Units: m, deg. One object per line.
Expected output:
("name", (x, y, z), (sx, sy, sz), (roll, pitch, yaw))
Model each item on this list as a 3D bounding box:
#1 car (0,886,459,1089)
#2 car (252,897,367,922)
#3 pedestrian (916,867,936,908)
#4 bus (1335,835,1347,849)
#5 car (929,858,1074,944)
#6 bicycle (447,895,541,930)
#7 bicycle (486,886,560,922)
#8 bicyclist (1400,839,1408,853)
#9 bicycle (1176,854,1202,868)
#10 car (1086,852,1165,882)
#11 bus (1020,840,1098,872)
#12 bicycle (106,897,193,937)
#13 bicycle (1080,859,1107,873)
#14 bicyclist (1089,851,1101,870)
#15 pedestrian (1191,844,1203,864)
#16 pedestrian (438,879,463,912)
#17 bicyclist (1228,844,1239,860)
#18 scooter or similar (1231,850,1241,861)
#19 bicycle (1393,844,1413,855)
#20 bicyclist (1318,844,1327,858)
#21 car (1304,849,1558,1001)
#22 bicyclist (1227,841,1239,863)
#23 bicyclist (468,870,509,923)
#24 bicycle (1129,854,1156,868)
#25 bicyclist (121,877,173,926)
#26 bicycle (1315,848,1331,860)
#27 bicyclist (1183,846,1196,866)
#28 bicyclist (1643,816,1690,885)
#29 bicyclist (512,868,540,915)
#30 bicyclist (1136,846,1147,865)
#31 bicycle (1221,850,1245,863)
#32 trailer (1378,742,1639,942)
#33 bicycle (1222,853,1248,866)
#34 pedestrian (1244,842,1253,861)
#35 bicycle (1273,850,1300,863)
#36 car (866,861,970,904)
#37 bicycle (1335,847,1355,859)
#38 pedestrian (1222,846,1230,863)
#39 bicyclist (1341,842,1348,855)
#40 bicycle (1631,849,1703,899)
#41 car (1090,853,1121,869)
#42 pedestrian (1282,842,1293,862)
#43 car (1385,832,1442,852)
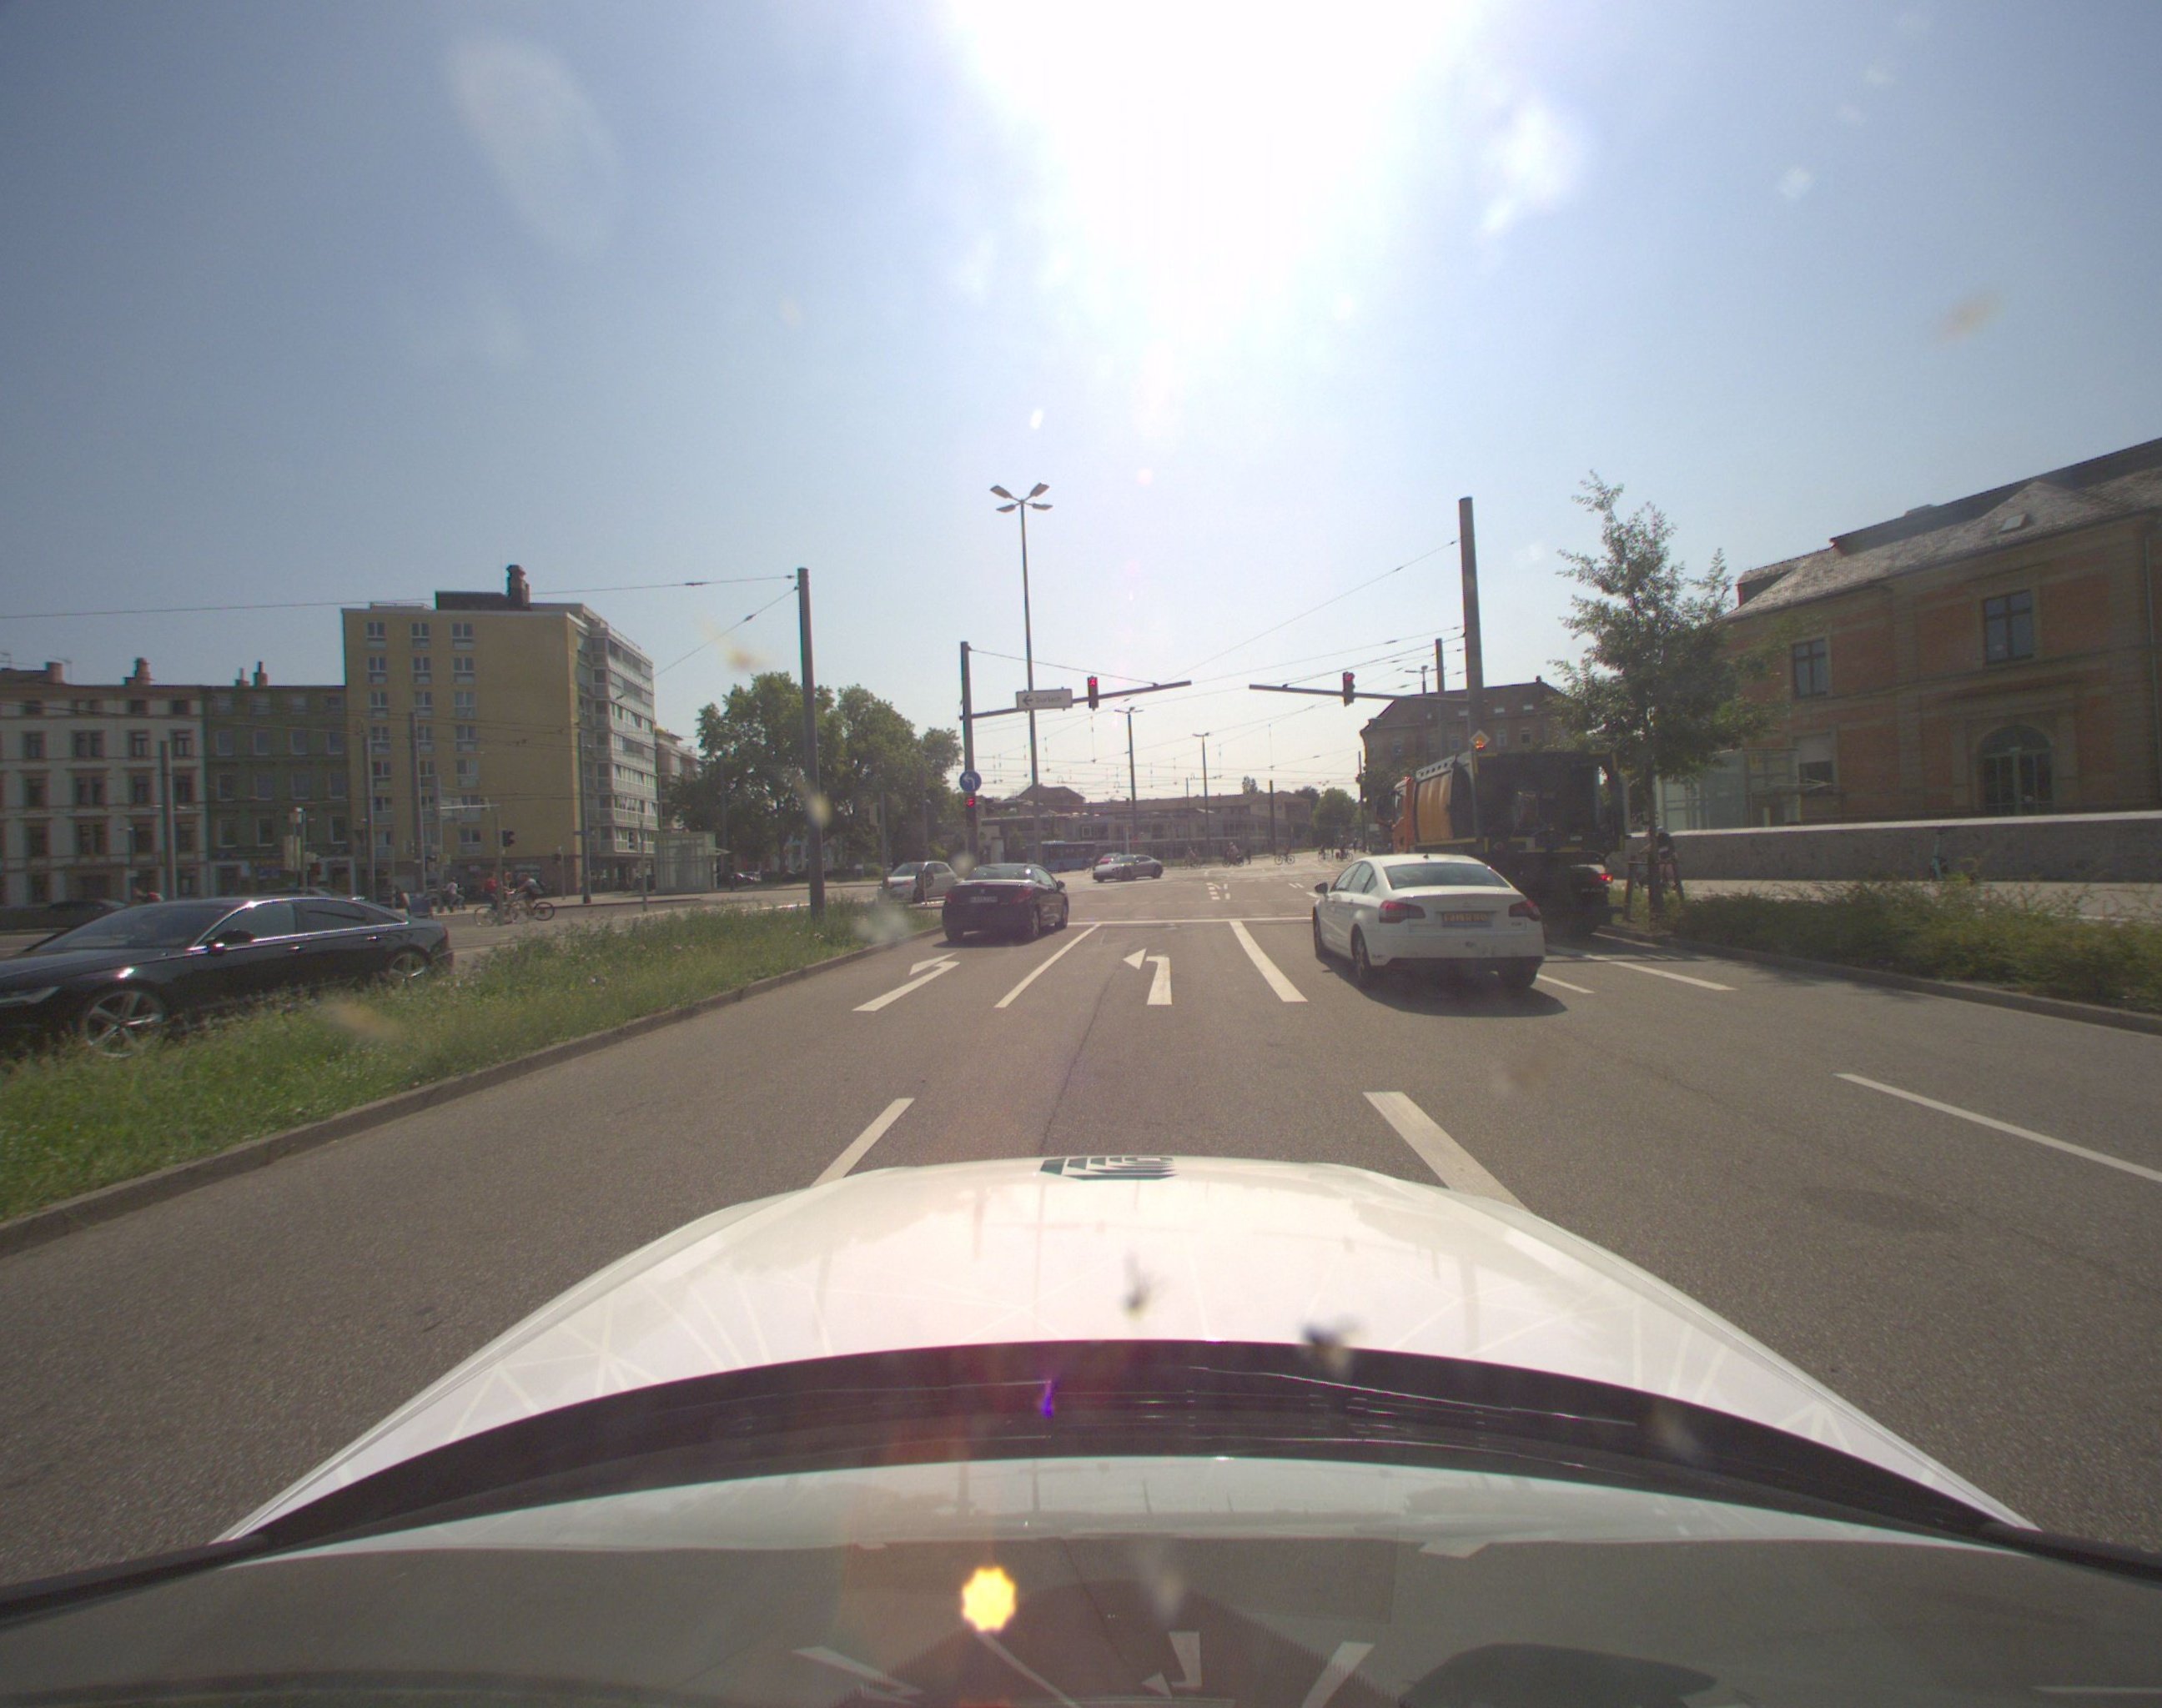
("car", (-9.314, 1.157, 8.599), (1.764, 1.411, 4.767), (-1, 0, 1))
("car", (-39.738, 2.843, 42.037), (3.891, 0.987, 1.707), (-3, 0, -16))
("pedestrian", (-5.028, 1.080, 26.388), (0.596, 1.268, 0.503), (-3, 2, -12))
("bus", (66.313, -3.054, 207.765), (2.541, 3.505, 7.838), (-3, 0, 18))
("car", (-1.405, 0.830, 16.083), (1.747, 1.404, 3.992), (-2, 0, 11))
("bicycle", (-19.129, 1.889, 26.595), (2.410, 0.953, 0.601), (-3, -1, -12))
("bicycle", (-19.943, 1.777, 29.132), (0.690, 1.137, 2.056), (-3, 0, 43))
("bicyclist", (29.812, -0.759, 75.238), (0.588, 1.247, 0.510), (-3, 0, 26))
("bicycle", (8.606, 0.537, 64.881), (1.984, 1.018, 0.710), (-2, 0, -19))
("car", (2.510, 0.695, 44.945), (1.921, 1.400, 4.616), (-3, 0, 39))
("bus", (-1.946, 0.083, 81.834), (3.026, 2.931, 11.918), (-3, 0, 23))
("bicycle", (-32.749, 2.184, 28.686), (0.977, 1.178, 2.807), (-2, 0, -26))
("bicycle", (1.072, 1.025, 70.795), (2.199, 1.087, 0.759), (-2, 0, -13))
("bicyclist", (1.207, 0.562, 70.826), (0.798, 1.541, 0.759), (-2, 0, -12))
("pedestrian", (10.591, 0.001, 74.334), (0.776, 1.752, 0.813), (-3, 0, 21))
("pedestrian", (-32.409, 2.099, 41.842), (0.649, 1.633, 0.811), (-3, -1, -11))
("bicyclist", (13.489, -0.202, 72.195), (0.670, 1.350, 0.707), (-2, 0, -19))
("scooter or similar", (14.285, 0.173, 75.022), (0.831, 0.974, 0.794), (-2, 0, 5))
("bicycle", (29.761, -0.432, 75.266), (1.576, 0.985, 0.510), (-3, 0, 26))
("bicyclist", (22.266, -0.279, 75.014), (0.598, 1.247, 0.501), (-2, 0, -37))
("car", (4.031, 0.697, 10.220), (1.748, 1.455, 4.435), (-2, 0, 7))
("bicyclist", (12.263, -0.178, 65.712), (0.703, 1.764, 0.713), (-2, 0, -5))
("bicyclist", (-19.321, 1.371, 26.565), (0.839, 1.642, 0.604), (-3, 0, -11))
("bicycle", (5.400, 0.637, 71.590), (2.196, 1.087, 0.760), (-2, 0, -9))
("bicyclist", (-32.686, 1.643, 28.516), (0.977, 1.654, 0.656), (-2, 0, -27))
("bicycle", (22.276, 0.016, 75.011), (1.603, 0.985, 0.501), (-2, 0, -37))
("bicyclist", (8.649, 0.150, 64.897), (0.666, 1.509, 0.710), (-2, 0, -19))
("bicyclist", (13.180, -0.081, 18.351), (0.545, 1.496, 0.806), (-3, -1, 13))
("bicyclist", (-19.909, 1.330, 29.201), (0.684, 1.650, 0.623), (-3, 0, 43))
("bicyclist", (5.344, 0.175, 71.582), (0.761, 1.634, 0.760), (-2, 0, -9))
("bicycle", (13.501, 0.226, 72.191), (1.984, 1.018, 0.710), (-2, 0, -19))
("trailer", (7.636, -0.178, 15.545), (2.448, 3.007, 6.341), (-1, 0, 9))
("bicycle", (12.419, 0.446, 65.725), (1.974, 1.018, 0.713), (-2, 0, -5))
("pedestrian", (15.412, -0.212, 74.837), (0.619, 1.752, 0.629), (-2, 0, 3))
("bicycle", (16.938, 0.190, 67.194), (1.959, 1.018, 0.719), (-3, 0, 30))
("car", (-6.163, 1.048, 31.280), (1.754, 1.425, 4.091), (-3, 0, 26))
("bicycle", (23.494, -0.087, 72.517), (1.577, 0.985, 0.510), (-3, 0, 22))
("pedestrian", (13.355, 0.027, 75.070), (0.632, 1.561, 0.749), (-2, 0, 5))
("bicyclist", (23.463, -0.475, 72.531), (0.499, 1.188, 0.510), (-3, 0, 23))
("bicycle", (13.232, 0.421, 18.461), (0.552, 1.060, 2.011), (-3, 0, 13))
("car", (2.404, 0.673, 78.374), (1.713, 1.420, 3.860), (-3, 0, 21))
("pedestrian", (17.006, -0.169, 67.149), (0.656, 1.534, 0.719), (-3, 0, 30))
("car", (27.087, -0.972, 66.350), (3.888, 1.420, 1.731), (-3, 0, -5))
